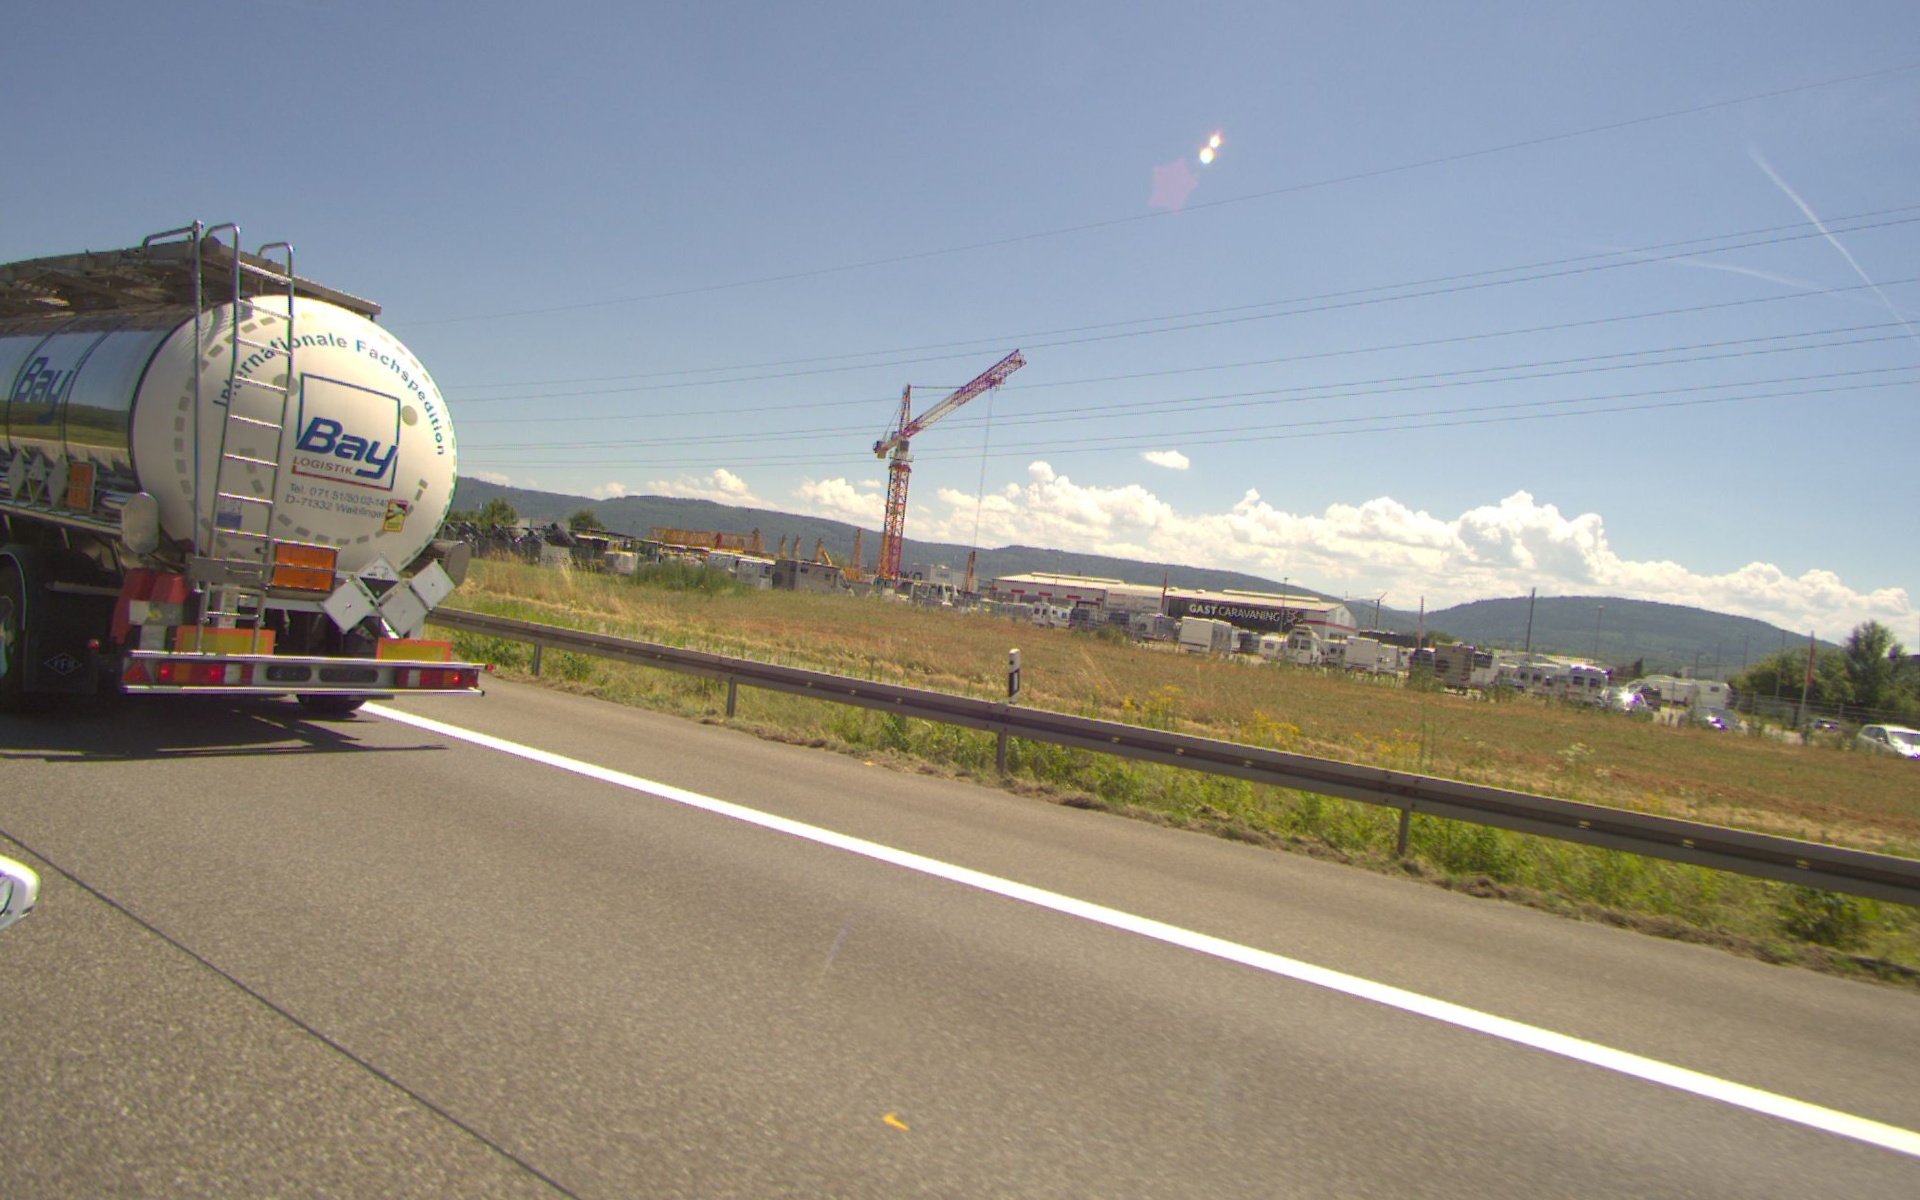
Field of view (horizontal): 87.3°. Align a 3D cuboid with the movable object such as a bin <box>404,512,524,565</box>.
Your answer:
[{"bbox_3d":[-45.116,-5.525,91.890,2.634,3.736,9.723,6,1,31],"label":"movable object such as a bin"}]

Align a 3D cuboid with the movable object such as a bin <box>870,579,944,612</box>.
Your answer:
[{"bbox_3d":[-5.321,-0.491,100.453,6.695,2.587,2.914,6,1,32],"label":"movable object such as a bin"}]

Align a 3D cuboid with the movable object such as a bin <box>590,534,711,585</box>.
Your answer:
[{"bbox_3d":[-24.211,-3.100,79.176,3.167,3.045,8.719,7,1,38],"label":"movable object such as a bin"}]

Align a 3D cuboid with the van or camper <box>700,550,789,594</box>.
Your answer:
[{"bbox_3d":[-15.573,-2.007,72.978,2.560,2.432,6.120,7,0,33],"label":"van or camper"}]

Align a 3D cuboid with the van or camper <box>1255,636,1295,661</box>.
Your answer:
[{"bbox_3d":[31.725,4.895,101.137,2.397,2.092,5.834,7,0,31],"label":"van or camper"}]

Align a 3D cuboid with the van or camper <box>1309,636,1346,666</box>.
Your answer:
[{"bbox_3d":[38.864,5.388,106.296,2.600,2.765,5.948,7,0,28],"label":"van or camper"}]

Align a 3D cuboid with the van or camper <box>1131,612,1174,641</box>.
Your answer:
[{"bbox_3d":[20.344,2.847,106.190,2.397,2.584,5.834,7,0,31],"label":"van or camper"}]

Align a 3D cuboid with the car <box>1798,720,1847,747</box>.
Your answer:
[{"bbox_3d":[56.467,8.723,65.937,1.559,1.314,3.896,7,0,29],"label":"car"}]

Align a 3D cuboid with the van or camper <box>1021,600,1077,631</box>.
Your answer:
[{"bbox_3d":[8.412,1.483,94.458,2.760,2.382,5.943,7,0,31],"label":"van or camper"}]

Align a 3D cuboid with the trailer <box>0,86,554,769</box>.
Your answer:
[{"bbox_3d":[-8.871,-1.437,9.952,10.918,4.121,2.585,7,-2,31],"label":"trailer"}]

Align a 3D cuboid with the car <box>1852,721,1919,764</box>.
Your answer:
[{"bbox_3d":[36.801,5.610,39.610,1.559,1.314,3.896,7,0,29],"label":"car"}]

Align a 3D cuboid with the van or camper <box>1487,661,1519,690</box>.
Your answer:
[{"bbox_3d":[53.043,7.320,98.335,2.461,2.414,5.948,7,0,28],"label":"van or camper"}]

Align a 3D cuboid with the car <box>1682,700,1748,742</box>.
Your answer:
[{"bbox_3d":[31.089,4.944,41.525,1.559,1.314,3.896,7,0,29],"label":"car"}]

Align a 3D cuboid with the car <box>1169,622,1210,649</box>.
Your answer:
[{"bbox_3d":[23.777,3.663,104.094,2.397,2.388,5.112,7,0,31],"label":"car"}]

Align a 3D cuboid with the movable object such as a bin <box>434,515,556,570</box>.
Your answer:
[{"bbox_3d":[-41.107,-5.027,89.414,2.591,3.736,9.718,6,1,33],"label":"movable object such as a bin"}]

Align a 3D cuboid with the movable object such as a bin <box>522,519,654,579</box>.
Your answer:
[{"bbox_3d":[-30.339,-4.101,82.541,3.367,3.736,9.707,7,1,38],"label":"movable object such as a bin"}]

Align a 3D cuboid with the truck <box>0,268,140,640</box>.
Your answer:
[{"bbox_3d":[-13.699,-1.992,12.924,6.286,4.119,2.578,7,-2,31],"label":"truck"}]

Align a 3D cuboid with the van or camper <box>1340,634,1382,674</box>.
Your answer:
[{"bbox_3d":[31.695,4.260,79.362,2.570,2.799,5.270,7,0,24],"label":"van or camper"}]

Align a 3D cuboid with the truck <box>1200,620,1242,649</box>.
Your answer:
[{"bbox_3d":[26.573,3.549,102.427,2.397,2.565,5.834,7,0,31],"label":"truck"}]

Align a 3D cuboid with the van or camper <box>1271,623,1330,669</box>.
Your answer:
[{"bbox_3d":[23.014,3.130,67.885,2.572,2.711,5.264,7,0,30],"label":"van or camper"}]

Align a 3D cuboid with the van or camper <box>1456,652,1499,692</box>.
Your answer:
[{"bbox_3d":[38.630,5.356,75.218,2.377,2.588,5.326,7,0,24],"label":"van or camper"}]

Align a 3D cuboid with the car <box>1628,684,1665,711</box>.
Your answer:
[{"bbox_3d":[61.622,8.723,90.369,2.110,2.039,4.277,7,0,28],"label":"car"}]

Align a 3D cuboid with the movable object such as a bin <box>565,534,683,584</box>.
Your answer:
[{"bbox_3d":[-26.947,-3.227,81.193,2.911,3.045,8.721,7,1,37],"label":"movable object such as a bin"}]

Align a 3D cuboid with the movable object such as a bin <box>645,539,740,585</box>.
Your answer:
[{"bbox_3d":[-26.408,-3.723,99.847,2.877,3.617,9.039,6,1,36],"label":"movable object such as a bin"}]

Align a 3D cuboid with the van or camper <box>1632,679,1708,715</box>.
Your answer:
[{"bbox_3d":[73.092,9.919,103.701,2.464,2.776,5.939,6,0,-14],"label":"van or camper"}]

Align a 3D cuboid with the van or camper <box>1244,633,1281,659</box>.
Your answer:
[{"bbox_3d":[33.418,5.082,110.980,2.600,2.485,5.948,7,0,28],"label":"van or camper"}]

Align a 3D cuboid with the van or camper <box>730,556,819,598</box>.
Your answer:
[{"bbox_3d":[-13.119,-1.615,71.477,2.560,2.248,6.120,7,0,33],"label":"van or camper"}]

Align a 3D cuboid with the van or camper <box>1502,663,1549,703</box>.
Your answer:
[{"bbox_3d":[42.615,6.216,75.935,2.377,2.588,5.326,7,0,24],"label":"van or camper"}]

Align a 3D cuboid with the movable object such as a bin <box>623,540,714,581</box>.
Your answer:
[{"bbox_3d":[-29.377,-3.960,101.656,2.877,3.189,8.685,6,0,36],"label":"movable object such as a bin"}]

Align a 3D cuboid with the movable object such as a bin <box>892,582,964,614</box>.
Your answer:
[{"bbox_3d":[-3.316,-0.240,102.862,6.695,2.587,2.914,6,1,32],"label":"movable object such as a bin"}]

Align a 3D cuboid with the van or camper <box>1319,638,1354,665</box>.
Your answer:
[{"bbox_3d":[36.011,4.942,96.218,2.336,2.322,5.267,7,0,27],"label":"van or camper"}]

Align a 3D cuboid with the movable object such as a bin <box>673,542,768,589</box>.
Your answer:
[{"bbox_3d":[-23.049,-3.243,97.429,2.877,3.617,9.039,6,1,36],"label":"movable object such as a bin"}]

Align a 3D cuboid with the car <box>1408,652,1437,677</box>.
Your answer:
[{"bbox_3d":[42.360,5.930,92.144,1.893,2.011,3.994,7,-1,29],"label":"car"}]

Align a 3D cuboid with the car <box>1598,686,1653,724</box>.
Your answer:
[{"bbox_3d":[28.789,4.515,43.578,1.559,1.314,3.896,7,0,29],"label":"car"}]

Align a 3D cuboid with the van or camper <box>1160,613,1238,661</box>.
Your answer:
[{"bbox_3d":[16.511,2.589,69.209,3.269,2.711,6.359,7,0,31],"label":"van or camper"}]

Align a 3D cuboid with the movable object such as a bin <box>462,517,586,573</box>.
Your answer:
[{"bbox_3d":[-37.765,-4.700,87.570,2.928,3.736,9.718,7,1,33],"label":"movable object such as a bin"}]

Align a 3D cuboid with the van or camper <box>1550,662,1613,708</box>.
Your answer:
[{"bbox_3d":[37.004,4.998,60.043,2.505,2.338,5.650,7,0,27],"label":"van or camper"}]

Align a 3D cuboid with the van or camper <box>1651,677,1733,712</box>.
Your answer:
[{"bbox_3d":[78.246,10.107,107.657,2.488,2.776,6.570,6,1,-44],"label":"van or camper"}]

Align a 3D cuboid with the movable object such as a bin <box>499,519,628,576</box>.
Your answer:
[{"bbox_3d":[-33.133,-4.328,84.537,2.932,3.736,9.705,7,1,38],"label":"movable object such as a bin"}]

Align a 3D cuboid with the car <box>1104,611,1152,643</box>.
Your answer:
[{"bbox_3d":[15.076,2.445,90.105,2.397,2.388,5.112,7,0,31],"label":"car"}]

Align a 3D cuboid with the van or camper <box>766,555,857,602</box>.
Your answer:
[{"bbox_3d":[-10.210,-1.449,69.700,2.398,2.584,6.346,7,0,33],"label":"van or camper"}]

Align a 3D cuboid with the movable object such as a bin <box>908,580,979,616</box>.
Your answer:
[{"bbox_3d":[-1.749,-0.217,105.601,6.695,3.068,2.914,6,1,32],"label":"movable object such as a bin"}]

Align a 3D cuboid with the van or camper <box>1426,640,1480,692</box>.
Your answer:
[{"bbox_3d":[30.884,4.094,62.855,2.381,2.801,6.454,7,0,30],"label":"van or camper"}]

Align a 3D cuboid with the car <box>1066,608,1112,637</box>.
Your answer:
[{"bbox_3d":[11.906,2.066,92.653,2.209,2.272,4.902,7,0,31],"label":"car"}]

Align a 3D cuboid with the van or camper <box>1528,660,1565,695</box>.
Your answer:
[{"bbox_3d":[55.914,7.368,96.036,2.461,2.933,5.948,7,0,28],"label":"van or camper"}]

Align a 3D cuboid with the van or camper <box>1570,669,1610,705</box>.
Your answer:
[{"bbox_3d":[58.440,8.042,93.412,2.461,2.933,5.948,7,0,28],"label":"van or camper"}]

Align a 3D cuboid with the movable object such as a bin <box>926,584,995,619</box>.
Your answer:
[{"bbox_3d":[0.071,0.170,108.689,6.695,3.068,2.914,6,1,32],"label":"movable object such as a bin"}]

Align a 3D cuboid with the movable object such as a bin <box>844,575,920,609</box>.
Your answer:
[{"bbox_3d":[-7.592,-0.801,97.450,6.695,2.587,2.914,6,1,32],"label":"movable object such as a bin"}]

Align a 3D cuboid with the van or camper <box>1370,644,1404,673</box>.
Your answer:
[{"bbox_3d":[39.948,5.459,93.998,2.336,2.322,5.267,7,0,27],"label":"van or camper"}]
